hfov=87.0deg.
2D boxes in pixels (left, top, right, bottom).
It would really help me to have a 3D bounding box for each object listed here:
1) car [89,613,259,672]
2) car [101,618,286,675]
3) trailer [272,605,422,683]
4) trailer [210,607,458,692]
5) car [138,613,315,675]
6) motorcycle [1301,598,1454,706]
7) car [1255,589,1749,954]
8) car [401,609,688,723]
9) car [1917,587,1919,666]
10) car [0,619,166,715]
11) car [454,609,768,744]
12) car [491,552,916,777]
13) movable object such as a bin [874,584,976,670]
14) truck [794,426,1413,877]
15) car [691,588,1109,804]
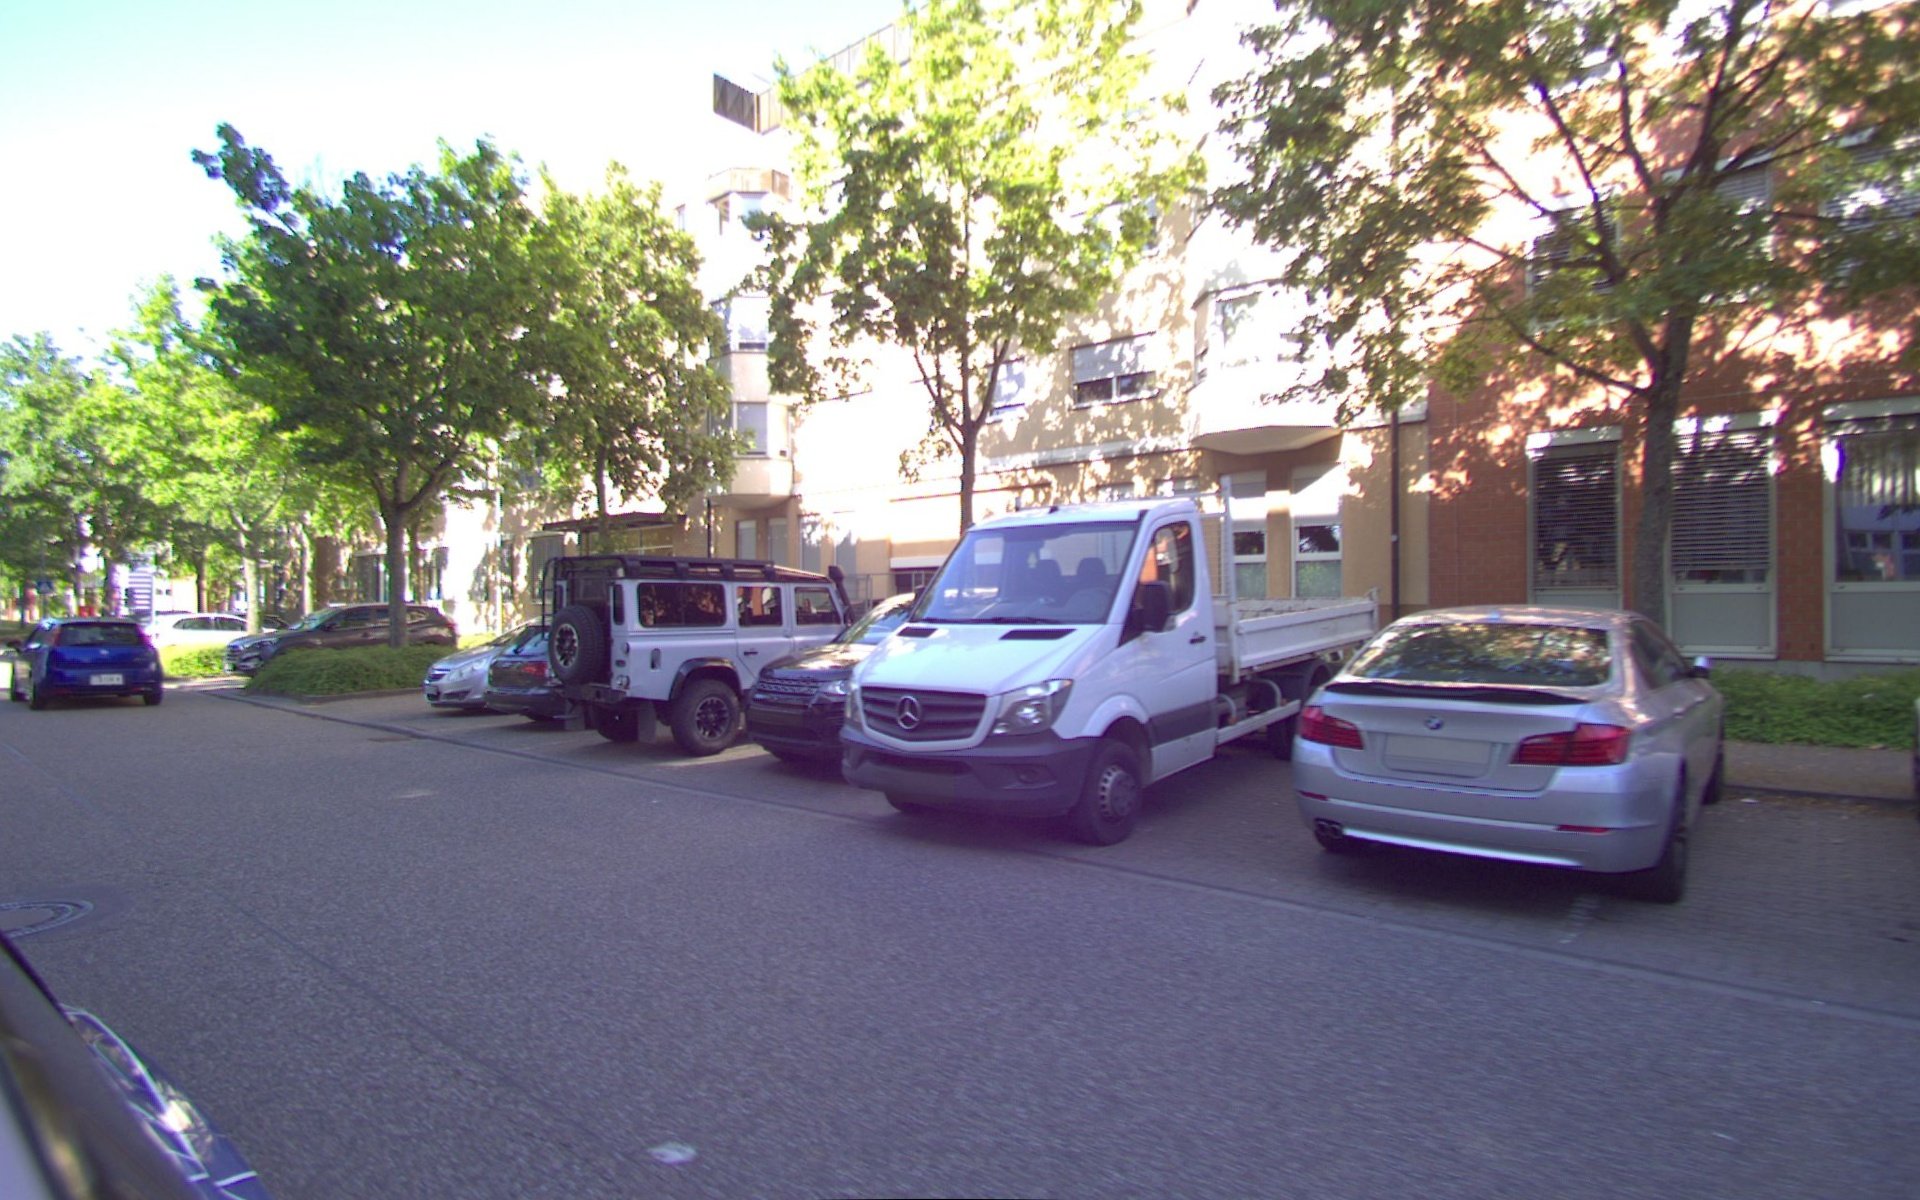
[{"bbox_3d":[-24.769,1.280,31.994,1.727,1.582,3.947,-1,1,40],"label":"car"},{"bbox_3d":[-22.835,1.328,30.282,1.799,1.413,4.110,-1,1,40],"label":"car"},{"bbox_3d":[-14.753,1.007,24.421,1.711,1.700,2.697,-1,0,41],"label":"trailer"},{"bbox_3d":[-13.540,0.993,22.098,1.853,1.584,4.221,-1,0,37],"label":"trailer"},{"bbox_3d":[-20.537,1.180,28.436,1.753,1.463,3.716,-1,1,40],"label":"car"},{"bbox_3d":[6.561,0.796,15.981,2.107,1.603,0.707,-1,-2,39],"label":"motorcycle"},{"bbox_3d":[3.740,0.701,6.502,1.998,1.498,4.383,-1,0,39],"label":"car"},{"bbox_3d":[-6.404,0.934,15.865,1.733,1.472,3.792,-1,0,44],"label":"car"},{"bbox_3d":[5.962,0.652,4.640,1.888,1.453,4.497,-2,0,39],"label":"car"},{"bbox_3d":[-14.968,1.049,17.156,3.997,1.431,1.627,-1,-2,41],"label":"car"},{"bbox_3d":[-4.646,0.929,13.934,1.828,1.504,3.747,-1,0,34],"label":"car"},{"bbox_3d":[-2.728,0.564,11.670,1.998,2.067,4.438,-1,0,39],"label":"car"},{"bbox_3d":[-0.778,0.593,22.625,1.663,1.810,1.582,-1,-2,41],"label":"movable object such as a bin"},{"bbox_3d":[1.697,0.339,8.540,2.186,2.440,6.167,-1,-2,41],"label":"truck"},{"bbox_3d":[-0.411,0.750,10.248,1.998,1.674,4.067,-1,1,39],"label":"car"}]
